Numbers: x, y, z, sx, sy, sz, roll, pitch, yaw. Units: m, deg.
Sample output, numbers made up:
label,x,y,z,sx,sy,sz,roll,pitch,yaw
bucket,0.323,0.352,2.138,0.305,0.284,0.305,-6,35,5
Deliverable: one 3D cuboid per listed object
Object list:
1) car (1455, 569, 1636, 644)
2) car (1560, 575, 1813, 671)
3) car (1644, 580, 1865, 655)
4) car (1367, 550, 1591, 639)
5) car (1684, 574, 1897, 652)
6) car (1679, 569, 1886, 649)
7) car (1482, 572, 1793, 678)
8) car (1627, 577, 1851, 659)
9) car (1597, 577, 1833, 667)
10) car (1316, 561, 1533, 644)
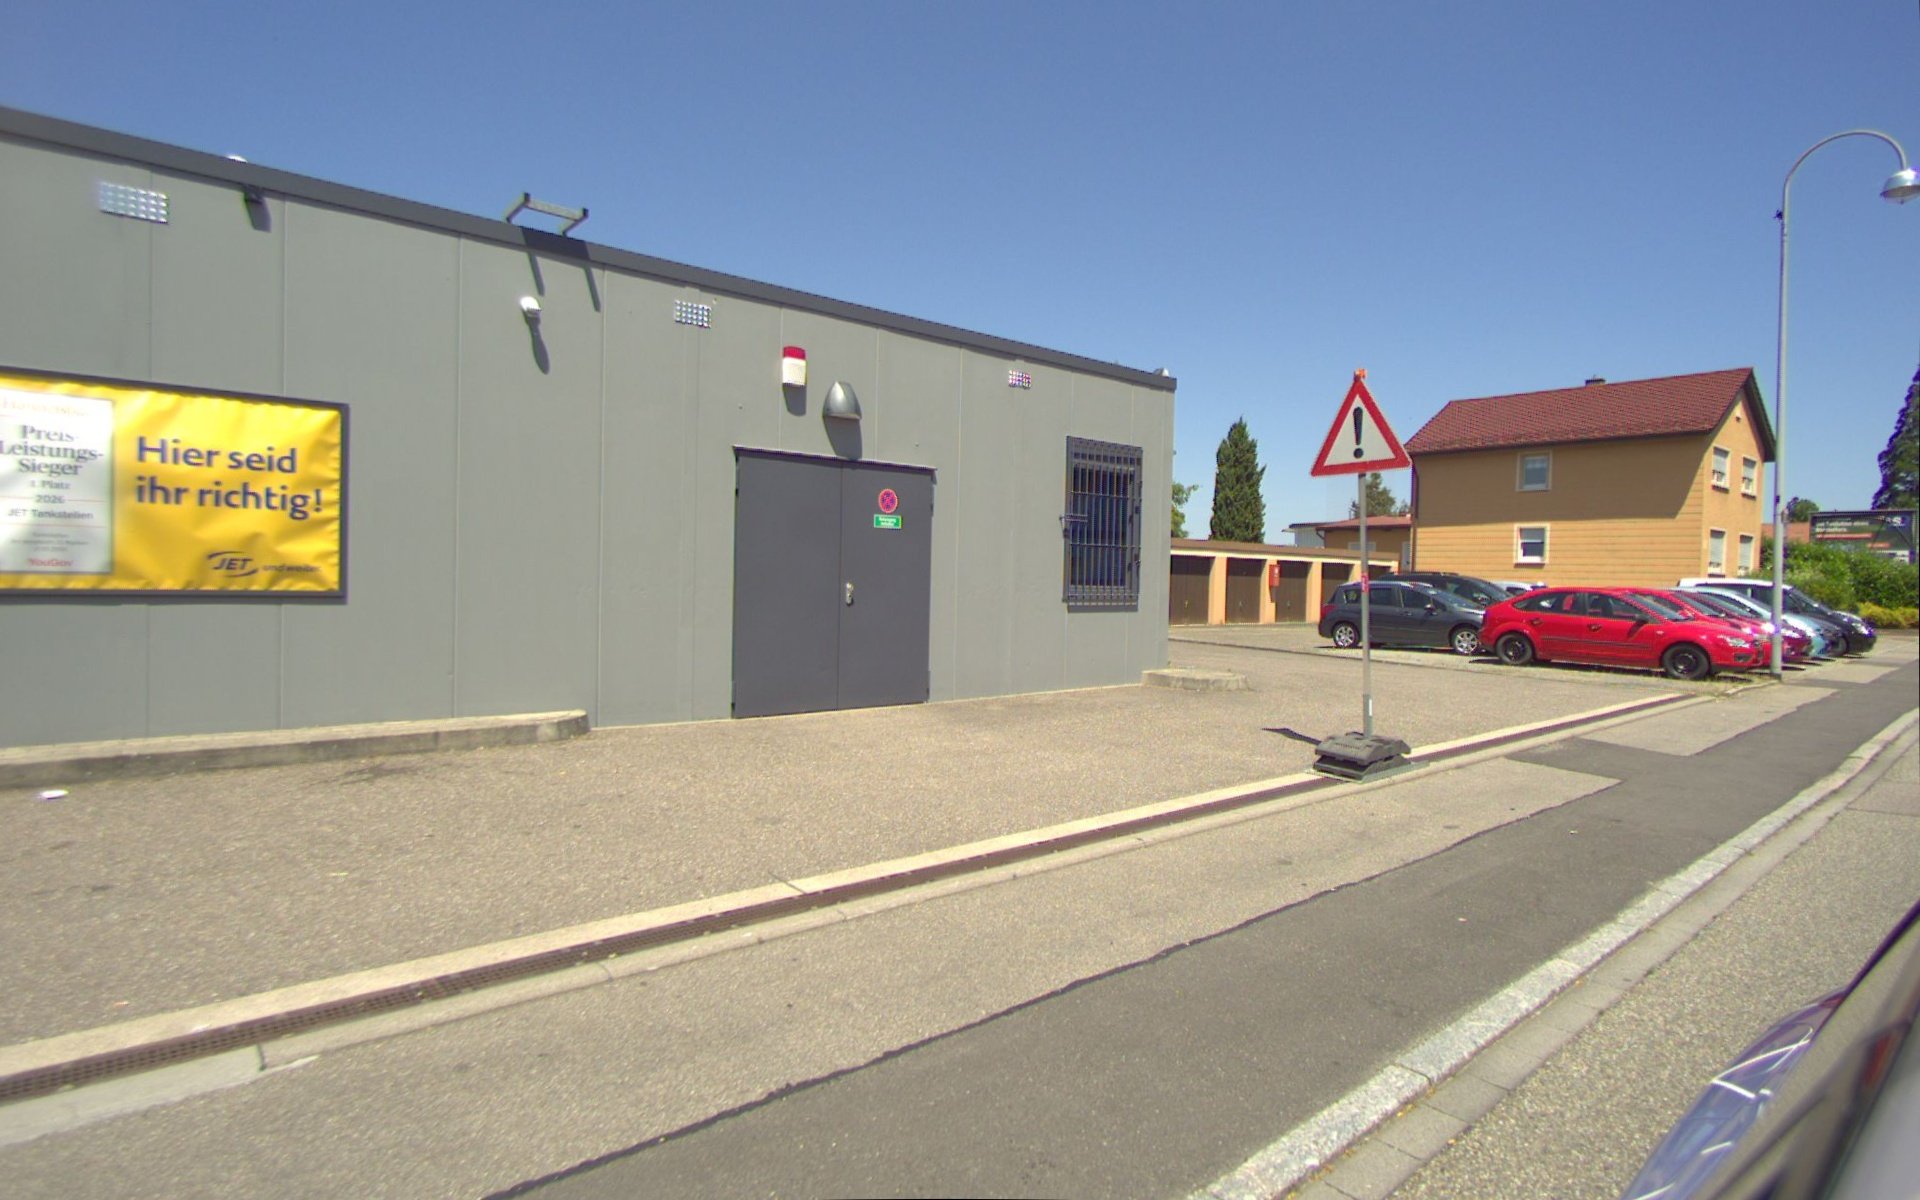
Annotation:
label,x,y,z,sx,sy,sz,roll,pitch,yaw
car,15.789,0.211,27.449,1.658,1.862,3.900,0,-2,-39
car,13.845,0.364,19.410,1.680,1.586,3.688,0,2,-44
car,18.640,0.350,23.870,1.801,1.528,3.801,0,2,-40
car,12.285,-0.057,24.158,1.939,1.921,4.342,0,-2,-44
car,20.513,0.262,25.103,1.734,1.701,3.879,0,2,-44
car,21.733,0.173,26.838,4.134,1.962,1.779,2,1,44
car,11.885,0.347,17.969,1.924,1.553,4.232,0,2,-42
car,17.176,0.332,22.430,1.614,1.586,3.689,0,2,-43
car,15.528,0.382,20.928,1.721,1.586,3.687,0,2,-45
car,10.329,0.103,22.715,1.752,1.689,4.044,0,-2,-41
